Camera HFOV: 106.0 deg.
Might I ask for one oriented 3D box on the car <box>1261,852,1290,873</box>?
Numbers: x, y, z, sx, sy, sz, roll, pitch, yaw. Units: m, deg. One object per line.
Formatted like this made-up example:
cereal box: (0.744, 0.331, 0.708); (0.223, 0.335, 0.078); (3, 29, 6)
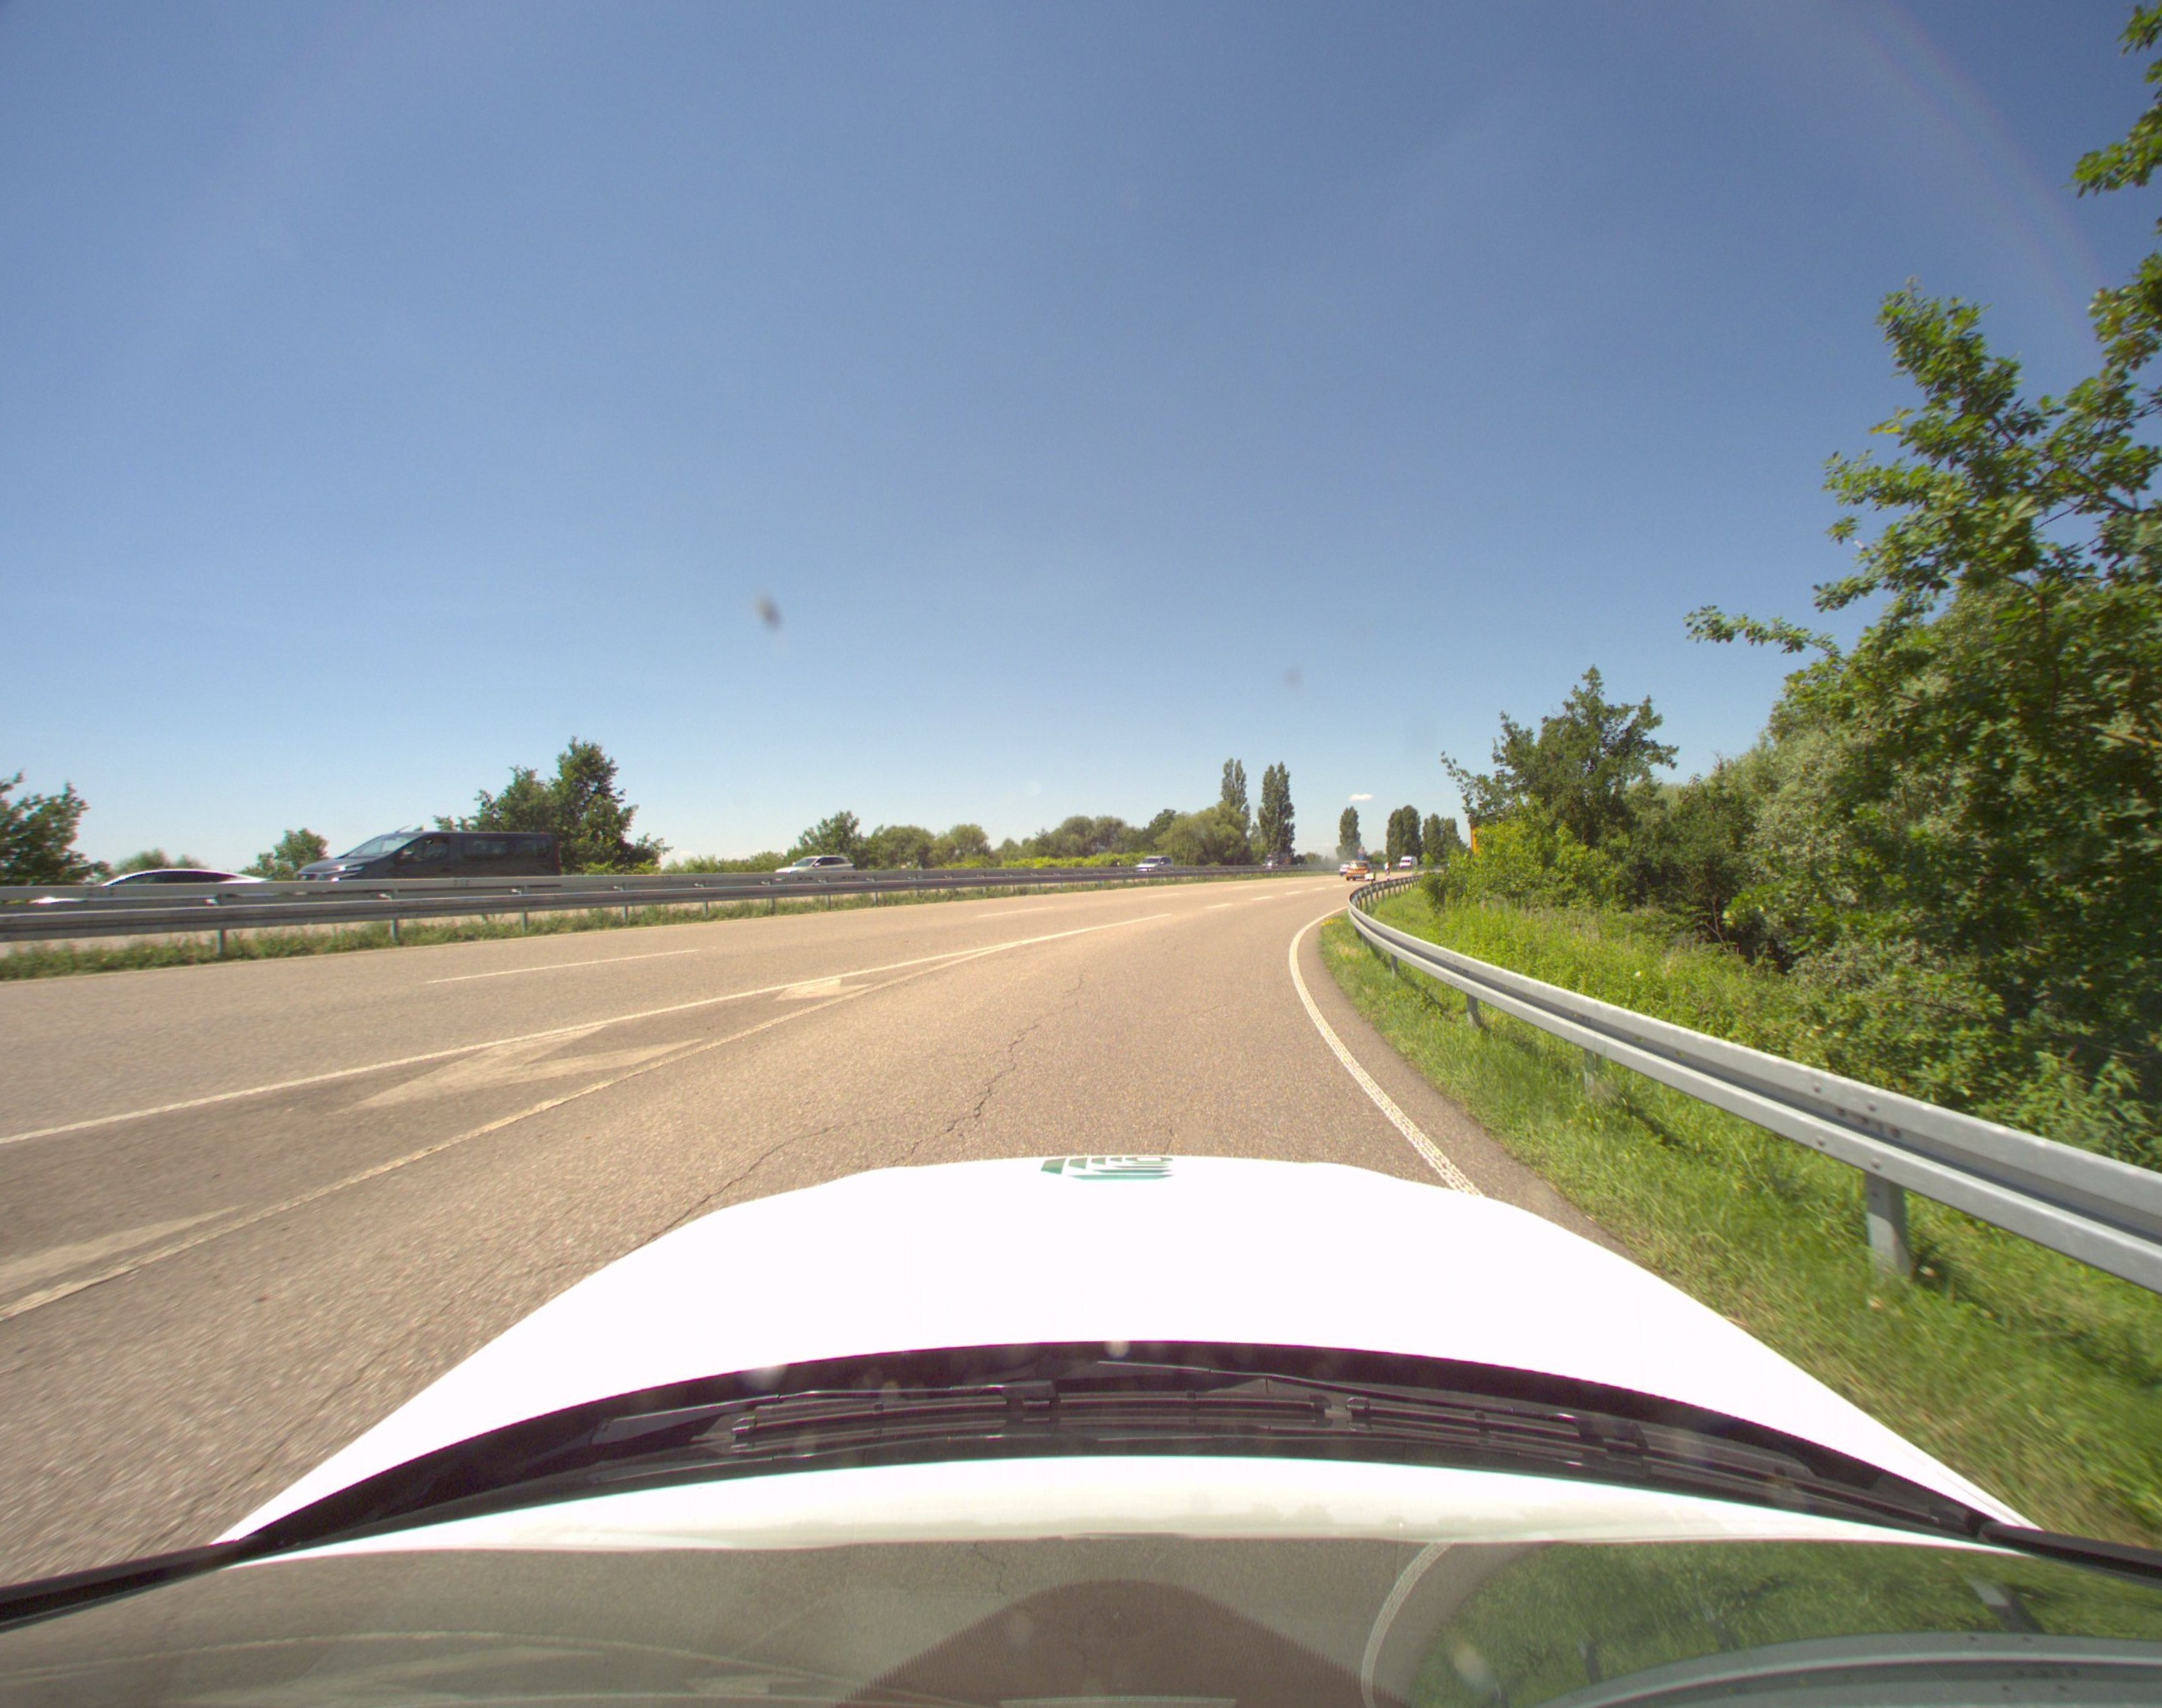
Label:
car: (24.792, 1.133, 103.789); (2.183, 2.638, 5.659); (-1, -2, 28)

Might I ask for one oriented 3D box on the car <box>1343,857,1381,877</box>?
car: (21.028, 0.950, 60.913); (1.823, 1.464, 4.025); (1, 0, 32)

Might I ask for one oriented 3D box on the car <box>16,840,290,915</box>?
car: (-26.010, 0.654, 23.056); (1.916, 1.893, 4.942); (-1, -2, 39)

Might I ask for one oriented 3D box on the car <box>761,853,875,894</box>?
car: (-12.629, 0.958, 39.445); (2.182, 1.893, 4.943); (-1, -2, 34)

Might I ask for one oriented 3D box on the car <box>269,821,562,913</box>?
car: (-15.705, 0.344, 19.608); (2.183, 1.893, 4.941); (-1, -2, 27)

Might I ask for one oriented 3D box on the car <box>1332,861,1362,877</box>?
car: (25.561, 1.393, 78.116); (1.823, 1.451, 4.025); (1, 0, 31)

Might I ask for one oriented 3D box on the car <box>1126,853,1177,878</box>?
car: (5.554, 0.928, 63.480); (2.183, 1.893, 4.941); (-1, -2, 28)
